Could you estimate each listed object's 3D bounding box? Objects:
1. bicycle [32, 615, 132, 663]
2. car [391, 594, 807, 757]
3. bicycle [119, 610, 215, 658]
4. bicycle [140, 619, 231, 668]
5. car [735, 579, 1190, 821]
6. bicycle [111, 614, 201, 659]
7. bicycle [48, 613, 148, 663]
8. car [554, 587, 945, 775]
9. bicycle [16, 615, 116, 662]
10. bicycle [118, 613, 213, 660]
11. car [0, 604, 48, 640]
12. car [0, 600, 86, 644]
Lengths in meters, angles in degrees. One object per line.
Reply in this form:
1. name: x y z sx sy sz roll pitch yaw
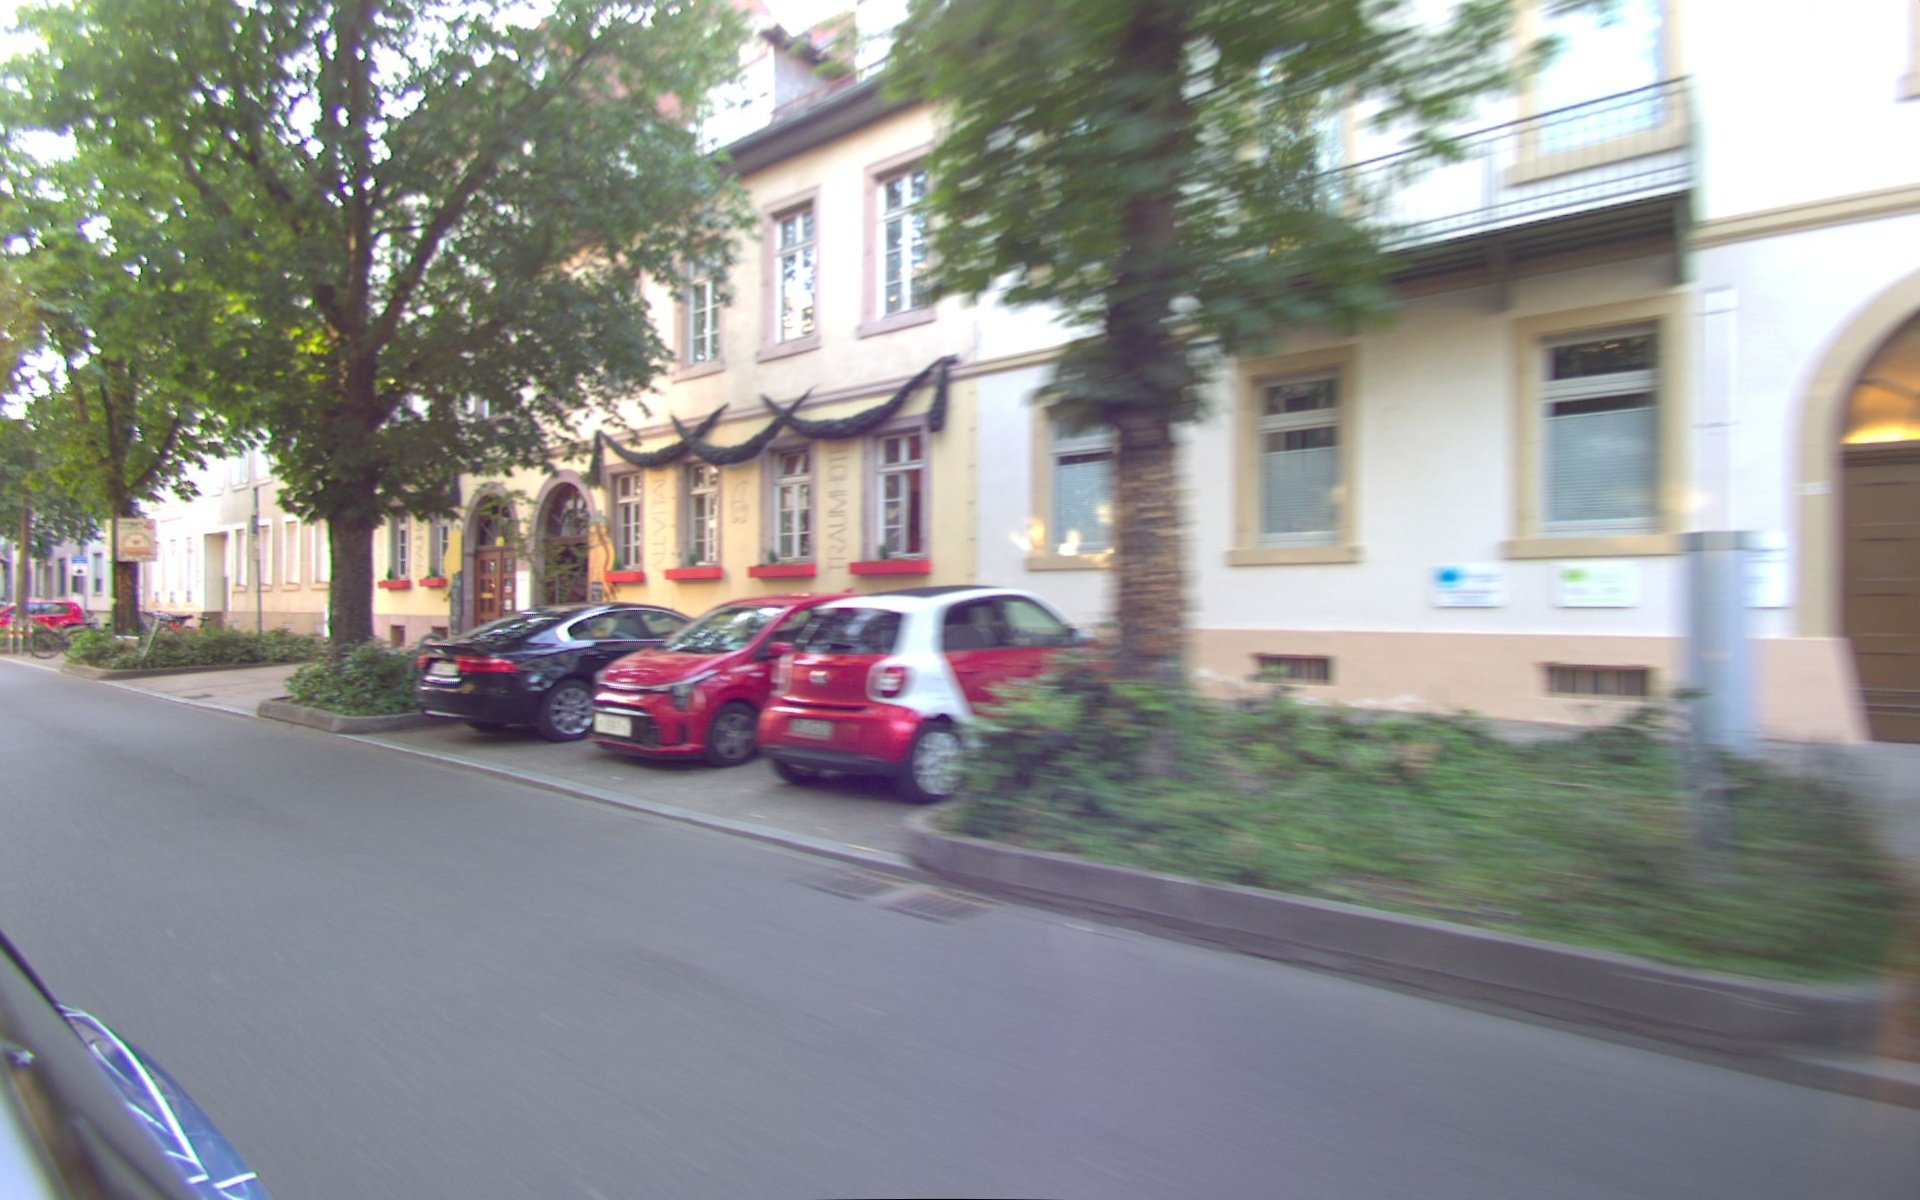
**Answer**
1. bicycle: -22.312 0.969 25.746 0.479 1.107 1.849 0 1 33
2. car: -3.927 0.695 11.767 1.714 1.417 4.386 1 2 35
3. bicycle: -20.033 0.846 25.599 0.479 1.107 1.849 0 1 33
4. bicycle: -18.891 1.041 24.715 0.479 1.107 1.693 0 1 33
5. car: 0.281 0.629 9.056 1.770 1.550 4.312 1 3 39
6. bicycle: -21.853 0.977 27.549 0.479 1.107 1.849 0 1 33
7. bicycle: -21.689 0.947 25.513 0.479 1.153 1.849 0 1 32
8. car: -1.962 0.649 10.261 1.657 1.460 3.648 -1 2 39
9. bicycle: -22.876 0.958 25.928 0.479 1.106 1.849 0 1 32
10. bicycle: -20.494 0.916 26.145 0.508 1.107 1.849 0 1 33
11. car: -40.353 0.940 41.952 1.588 1.430 3.511 -1 2 36
12. car: -33.769 0.796 36.236 1.670 1.416 3.457 -1 2 36
